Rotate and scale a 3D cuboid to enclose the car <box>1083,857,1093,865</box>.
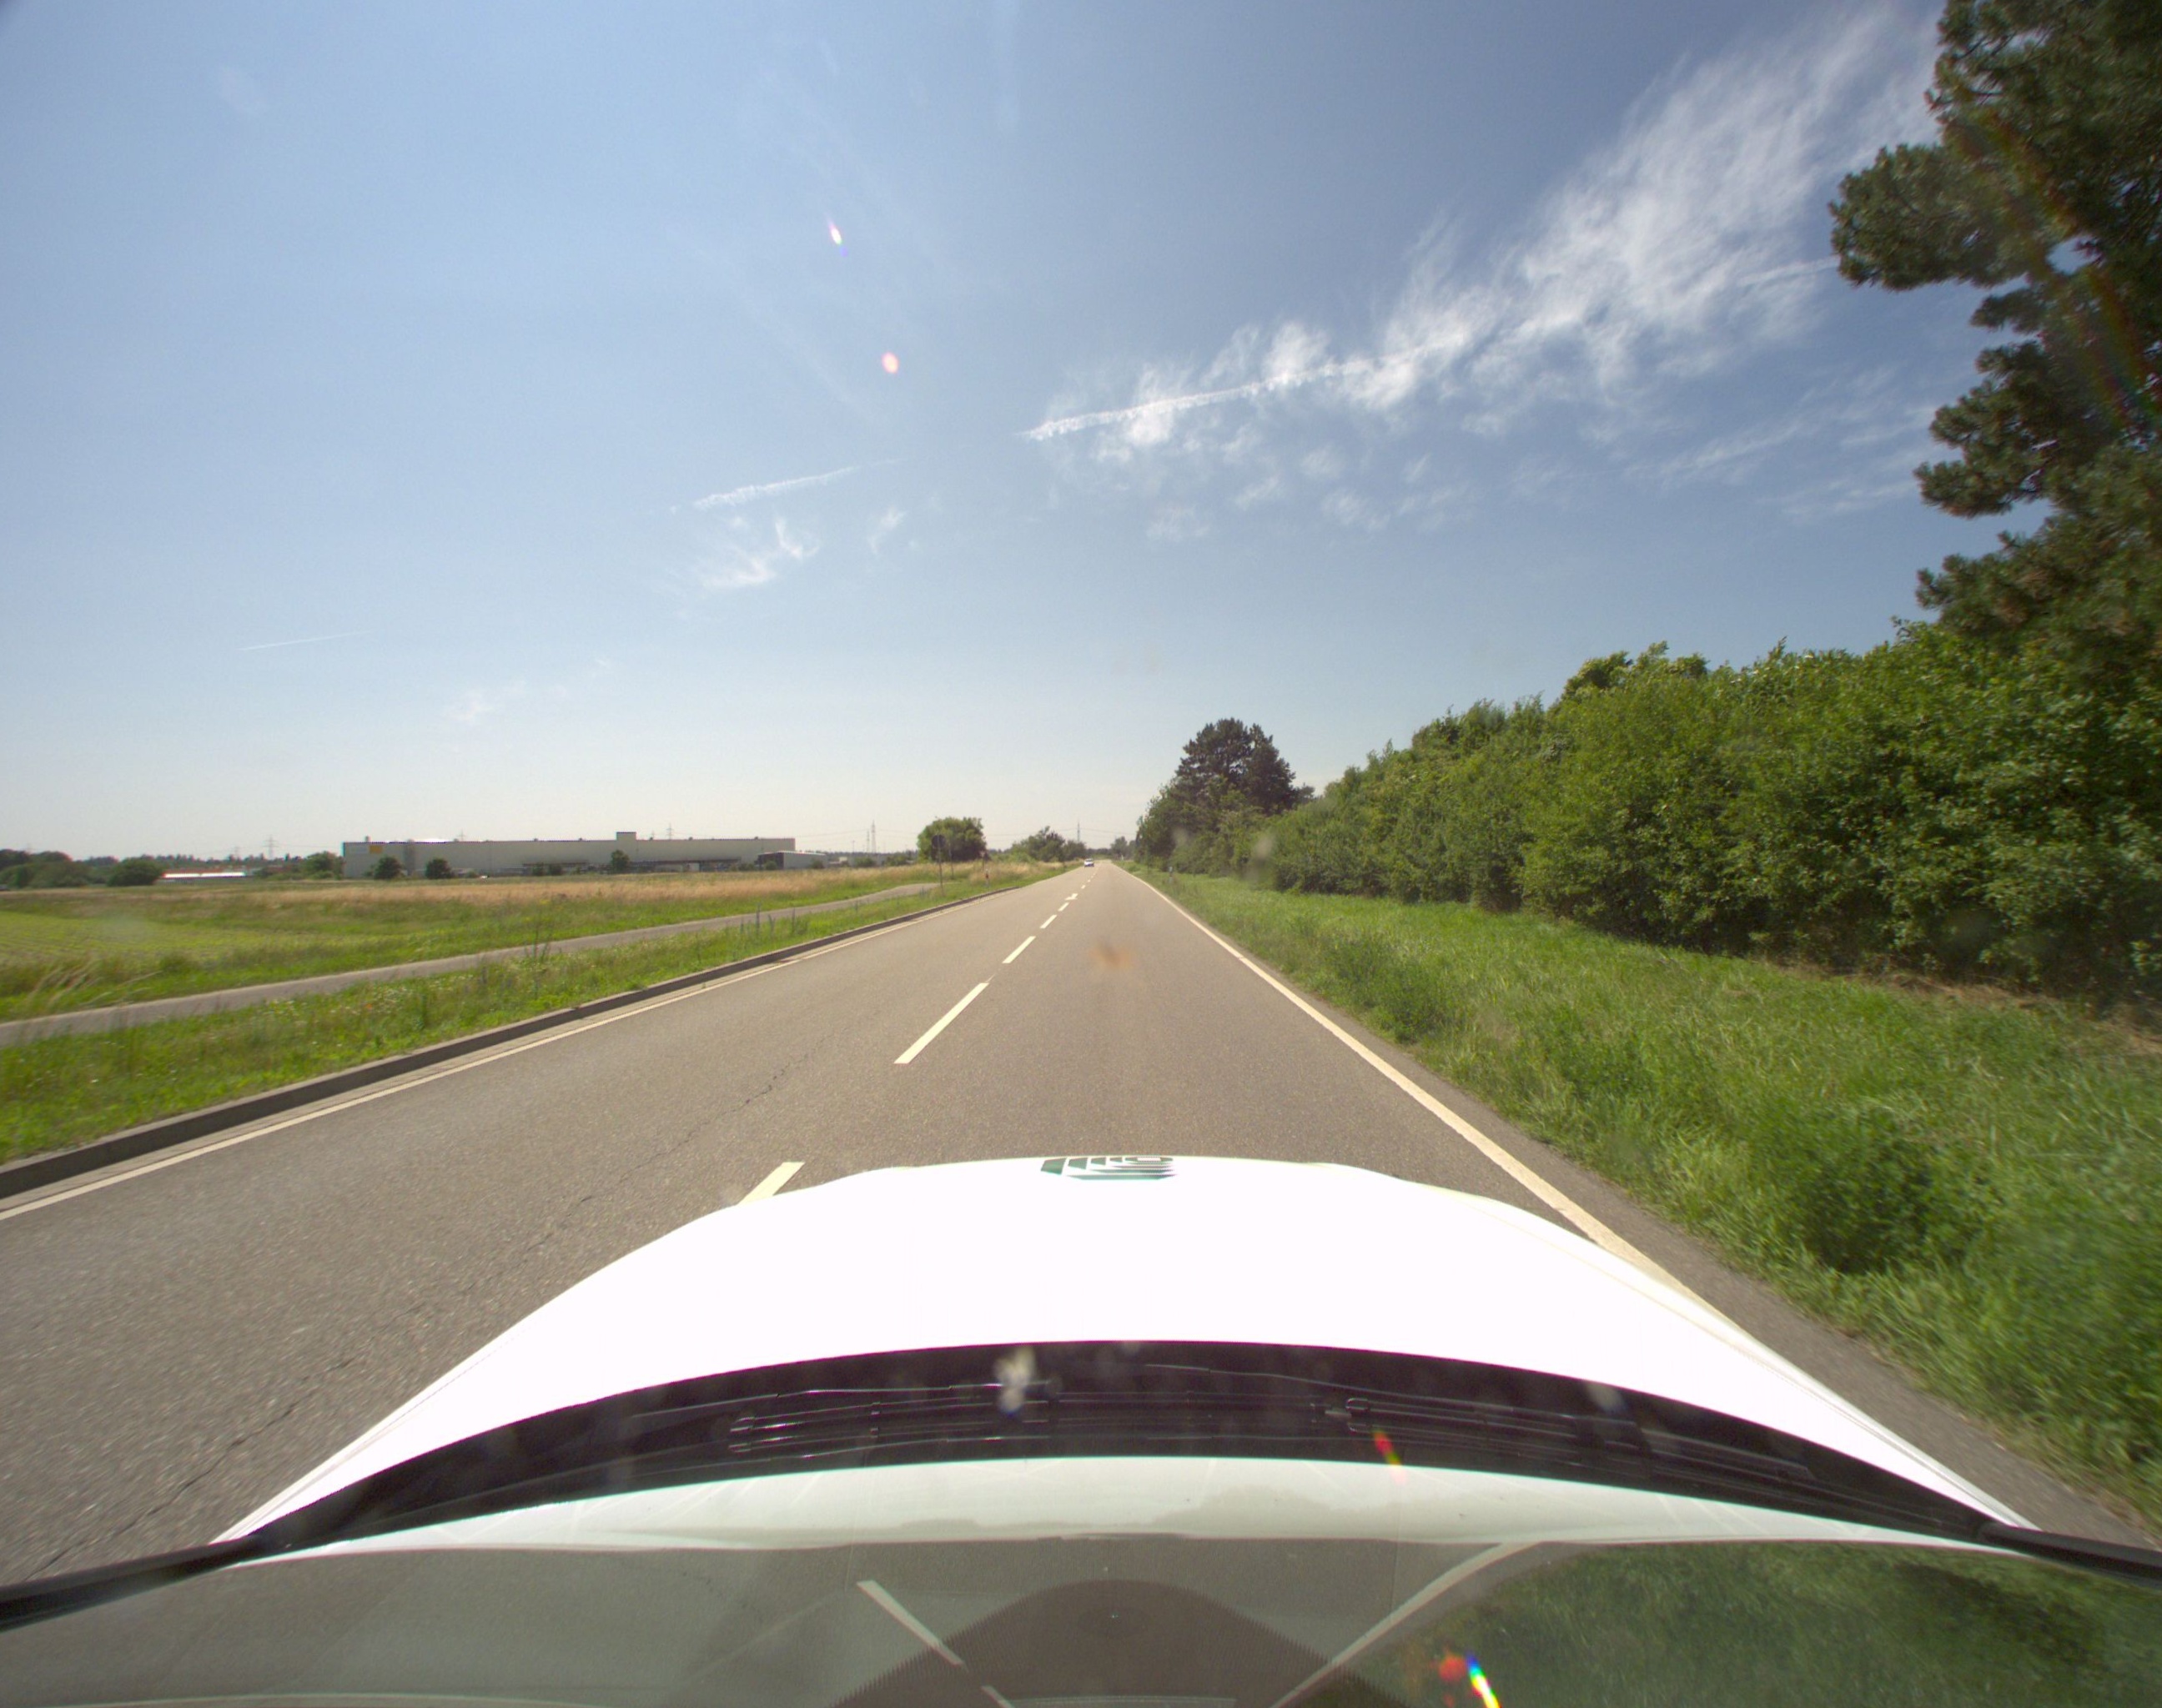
[{"bbox_3d":[1.283,1.293,149.915,1.672,1.421,4.423,-3,0,1],"label":"car"}]
